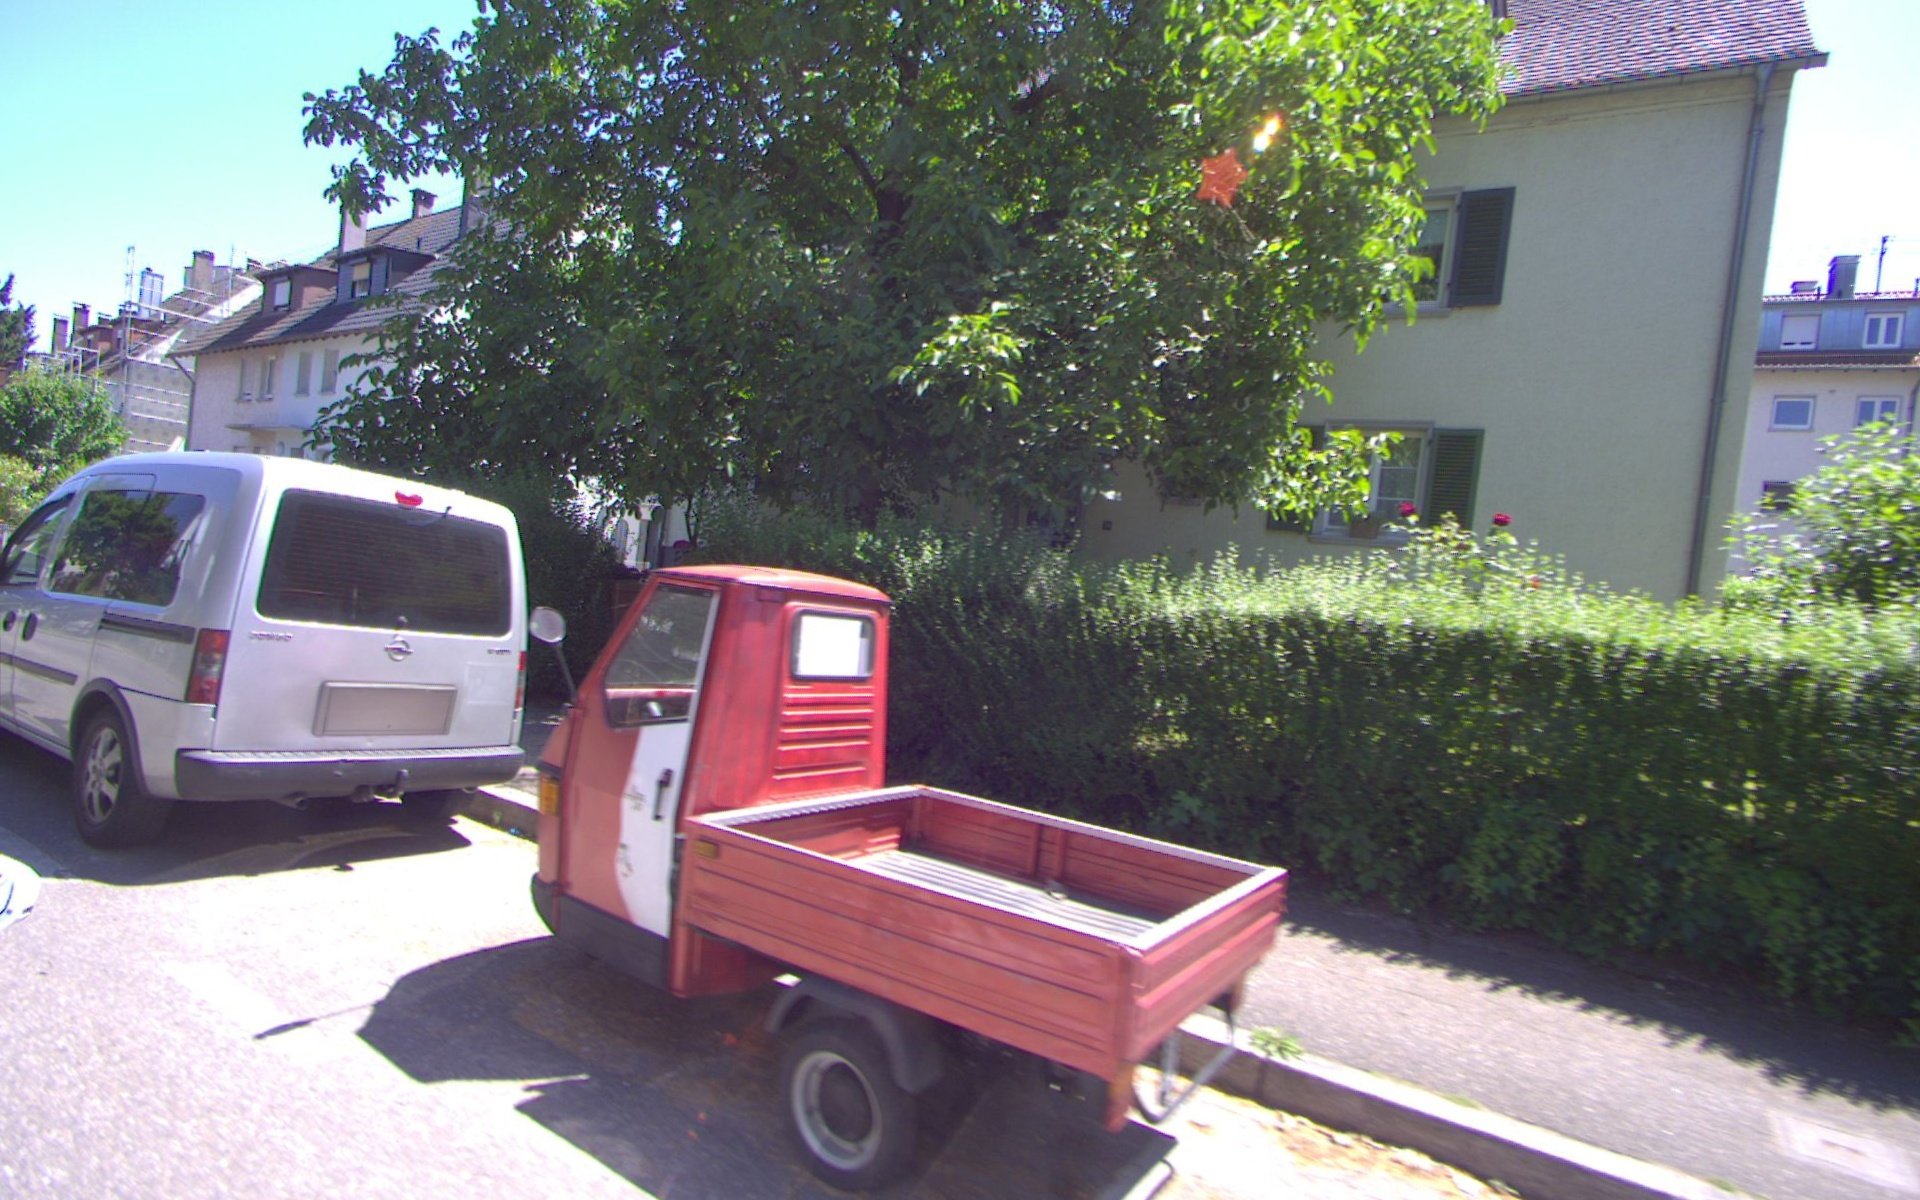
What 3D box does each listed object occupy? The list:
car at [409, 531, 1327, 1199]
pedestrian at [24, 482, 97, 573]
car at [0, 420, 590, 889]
[{"bbox_3d":[-0.400,0.702,3.319,2.665,1.513,1.262,7,-1,34],"label":"car"},{"bbox_3d":[-16.172,-1.294,18.088,0.697,1.538,0.788,7,3,33],"label":"pedestrian"},{"bbox_3d":[-4.413,0.073,5.805,4.468,1.803,1.749,7,-1,32],"label":"car"}]
